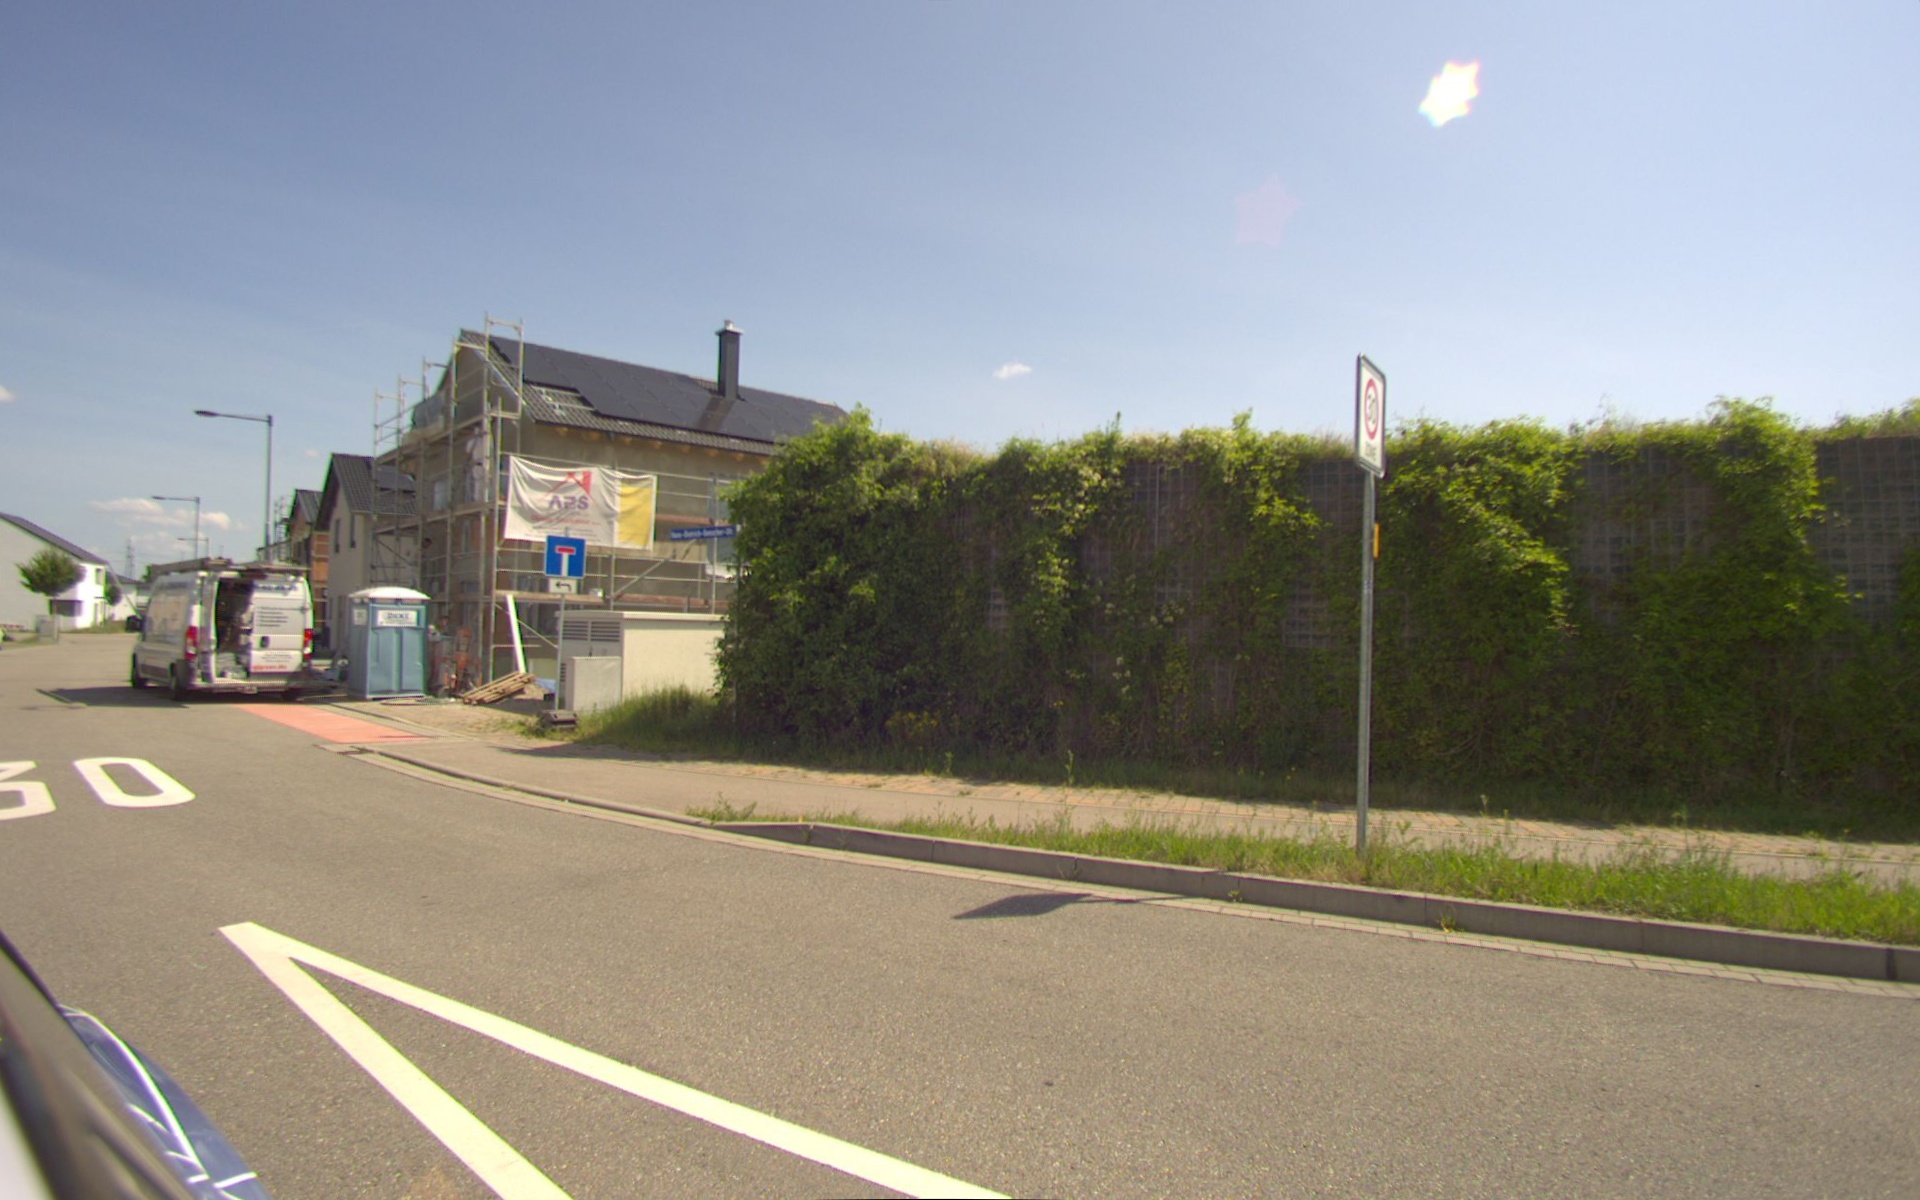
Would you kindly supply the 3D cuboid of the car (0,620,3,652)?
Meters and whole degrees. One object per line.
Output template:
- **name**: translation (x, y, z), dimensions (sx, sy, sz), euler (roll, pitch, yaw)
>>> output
- **car**: translation (-44.410, 1.604, 45.209), dimensions (1.790, 1.467, 4.574), euler (4, -3, -37)

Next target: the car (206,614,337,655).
- **car**: translation (-29.193, 1.487, 42.982), dimensions (4.370, 1.624, 2.003), euler (3, -3, -41)

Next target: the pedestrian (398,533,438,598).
- **pedestrian**: translation (-14.567, -0.914, 27.197), dimensions (0.579, 1.692, 0.737), euler (2, -1, 44)

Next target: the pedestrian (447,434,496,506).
- **pedestrian**: translation (-10.915, -2.899, 22.631), dimensions (0.740, 1.511, 0.561), euler (2, -1, 12)

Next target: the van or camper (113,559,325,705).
- **van or camper**: translation (-15.368, 0.603, 20.808), dimensions (6.367, 2.572, 2.248), euler (0, -2, 43)
